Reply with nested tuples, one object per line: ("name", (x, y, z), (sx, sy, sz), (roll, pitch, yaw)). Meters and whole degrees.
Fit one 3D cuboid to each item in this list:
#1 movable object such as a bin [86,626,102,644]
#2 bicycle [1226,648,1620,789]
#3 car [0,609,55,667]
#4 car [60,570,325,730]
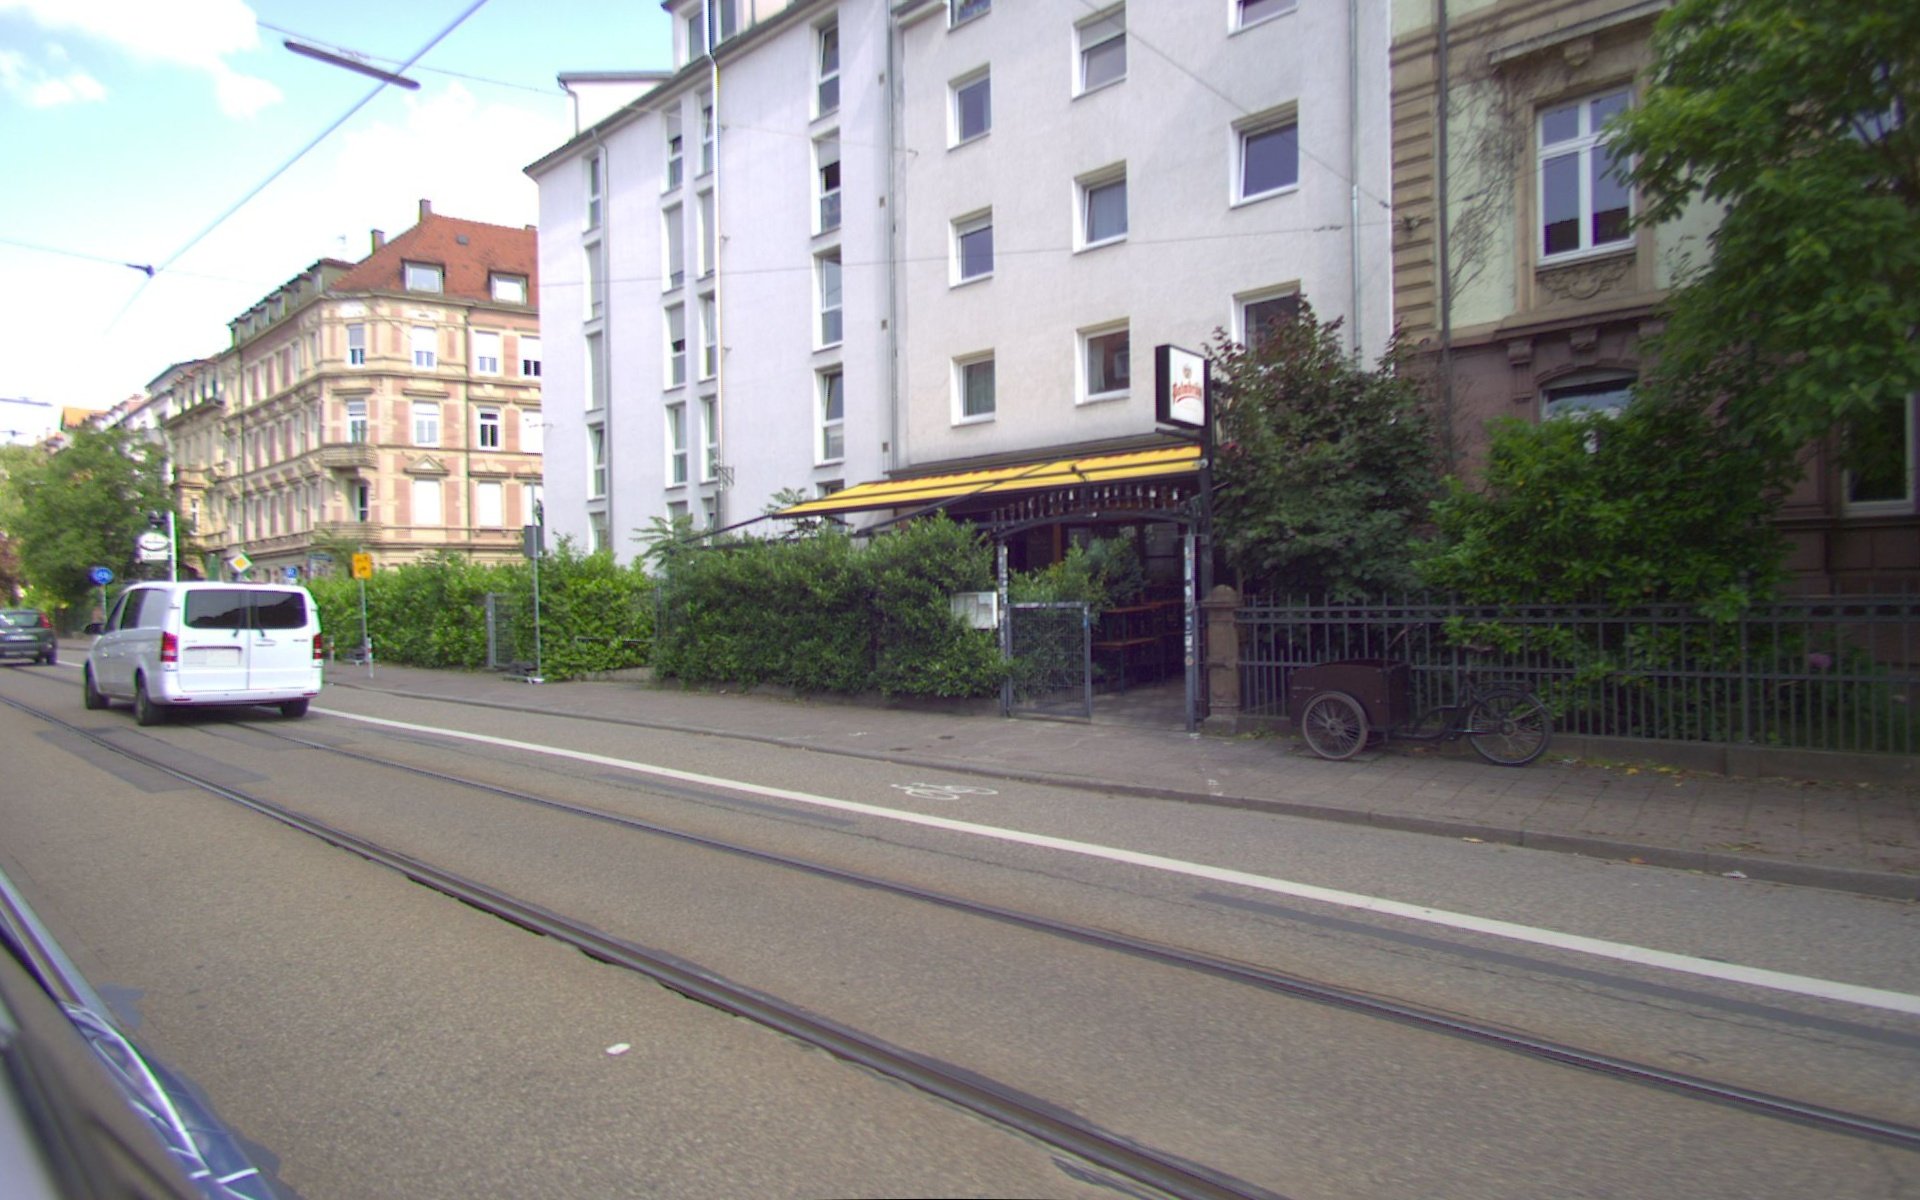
("movable object such as a bin", (-45.330, 1.818, 52.974), (0.640, 0.932, 0.572), (-1, -1, 41))
("bicycle", (4.016, 0.958, 9.002), (2.987, 0.915, 1.131), (-1, 2, 41))
("car", (-26.967, 1.054, 28.621), (3.819, 1.568, 1.614), (-1, -1, 41))
("car", (-11.218, 0.646, 14.619), (5.379, 1.922, 1.879), (-1, -1, 40))
